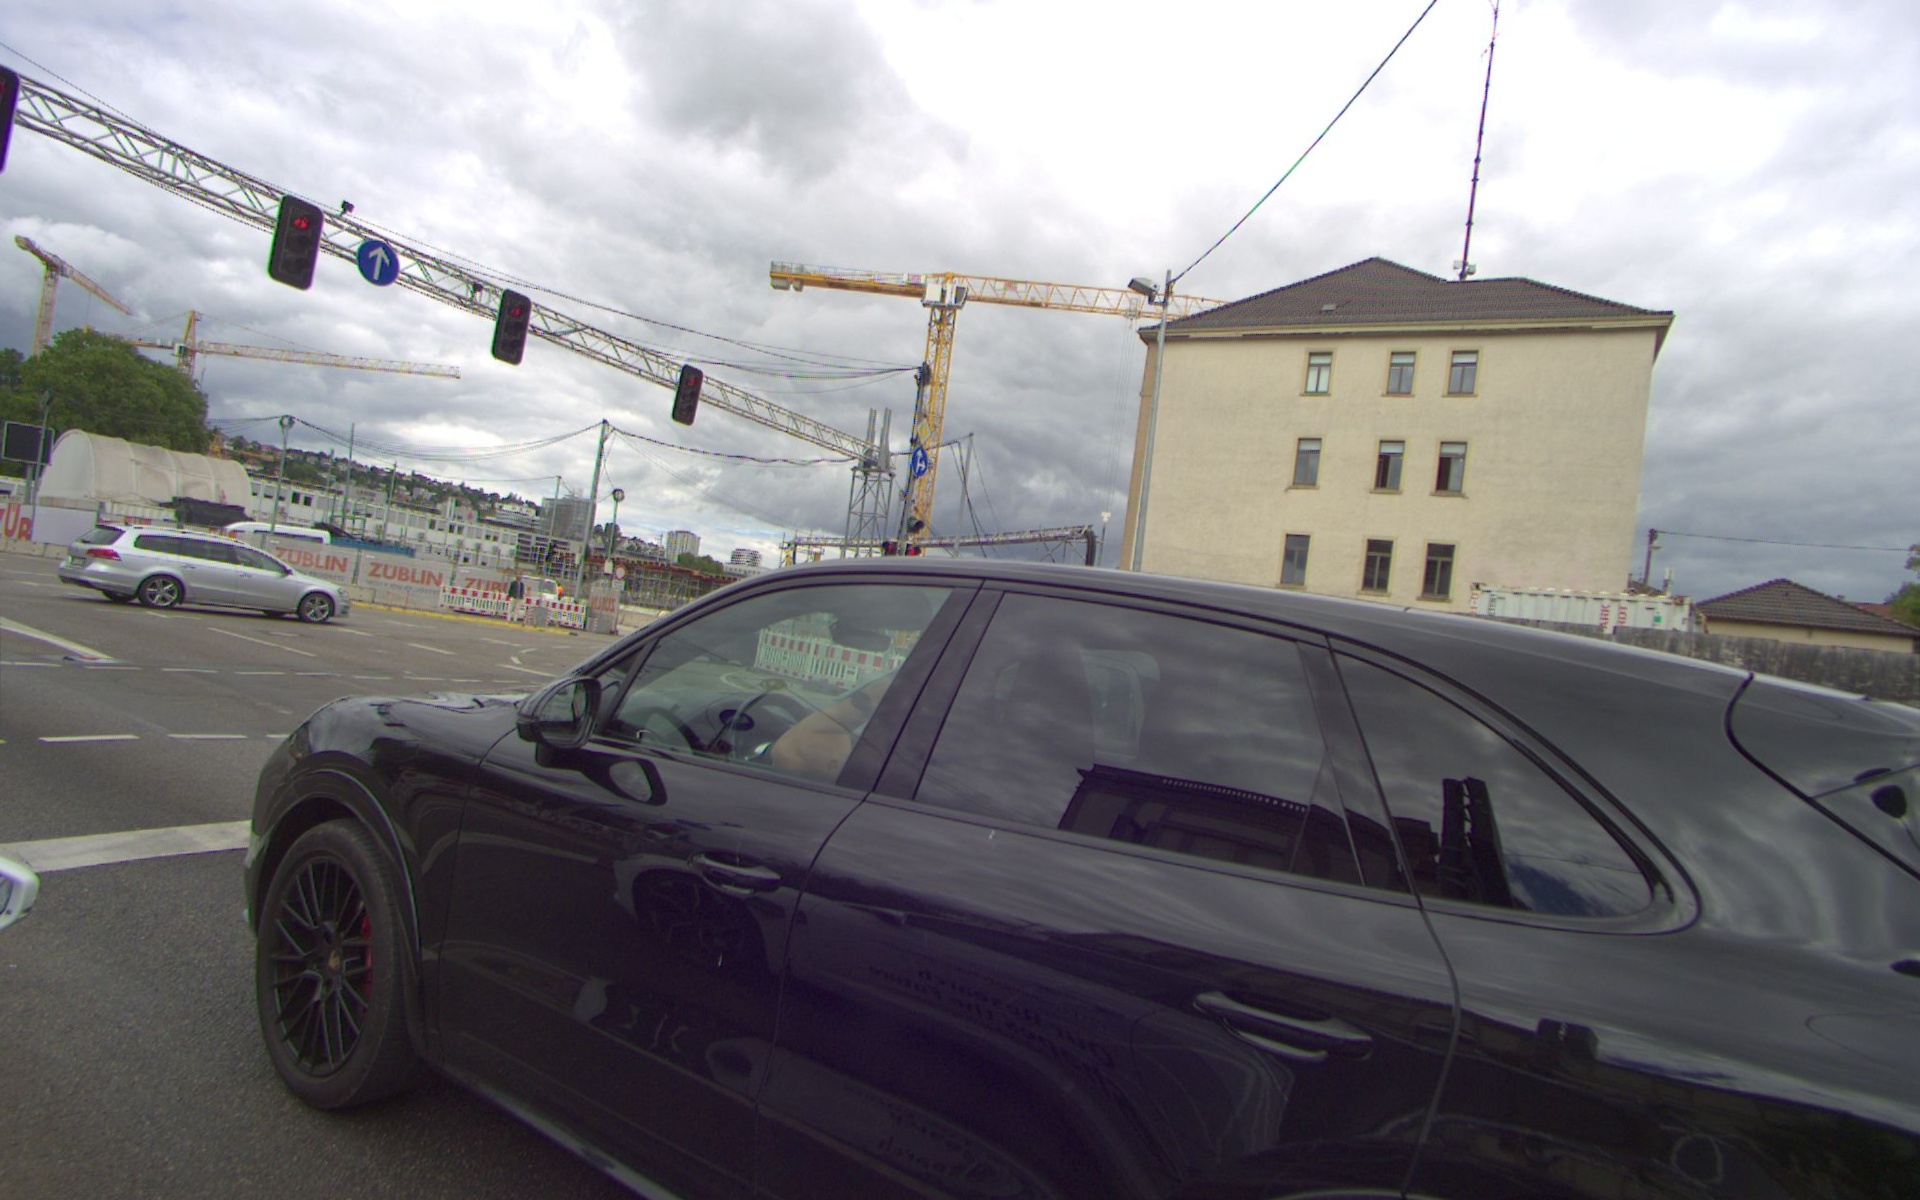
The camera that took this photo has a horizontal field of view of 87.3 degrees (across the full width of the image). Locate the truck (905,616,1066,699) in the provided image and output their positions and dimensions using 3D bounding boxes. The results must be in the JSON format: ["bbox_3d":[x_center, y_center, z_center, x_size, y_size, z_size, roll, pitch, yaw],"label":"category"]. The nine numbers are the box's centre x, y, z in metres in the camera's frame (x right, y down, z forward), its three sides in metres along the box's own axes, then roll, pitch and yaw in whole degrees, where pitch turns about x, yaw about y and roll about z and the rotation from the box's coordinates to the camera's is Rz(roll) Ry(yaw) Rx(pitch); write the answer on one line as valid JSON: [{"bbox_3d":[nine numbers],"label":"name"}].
[{"bbox_3d":[1.384,2.688,45.135,2.584,2.835,8.996,7,-2,34],"label":"truck"}]

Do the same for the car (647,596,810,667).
[{"bbox_3d":[-7.131,1.037,31.539,1.988,1.643,4.816,6,-2,33],"label":"car"}]

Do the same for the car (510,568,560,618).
[{"bbox_3d":[-19.159,-0.325,45.300,1.757,1.976,3.108,8,-2,-25],"label":"car"}]

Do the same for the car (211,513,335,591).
[{"bbox_3d":[-29.569,-2.042,43.372,1.660,2.692,3.979,6,-2,45],"label":"car"}]

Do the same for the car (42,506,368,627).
[{"bbox_3d":[-14.520,-0.557,19.696,1.653,1.643,4.722,6,-2,30],"label":"car"}]

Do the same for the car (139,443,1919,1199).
[{"bbox_3d":[-0.045,0.676,2.667,4.410,1.735,1.828,6,-2,32],"label":"car"}]

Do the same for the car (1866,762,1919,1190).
[{"bbox_3d":[5.768,1.682,2.571,4.729,1.644,1.828,6,-2,32],"label":"car"}]

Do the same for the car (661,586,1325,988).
[{"bbox_3d":[0.117,0.981,6.665,3.934,1.644,1.679,6,-2,32],"label":"car"}]
